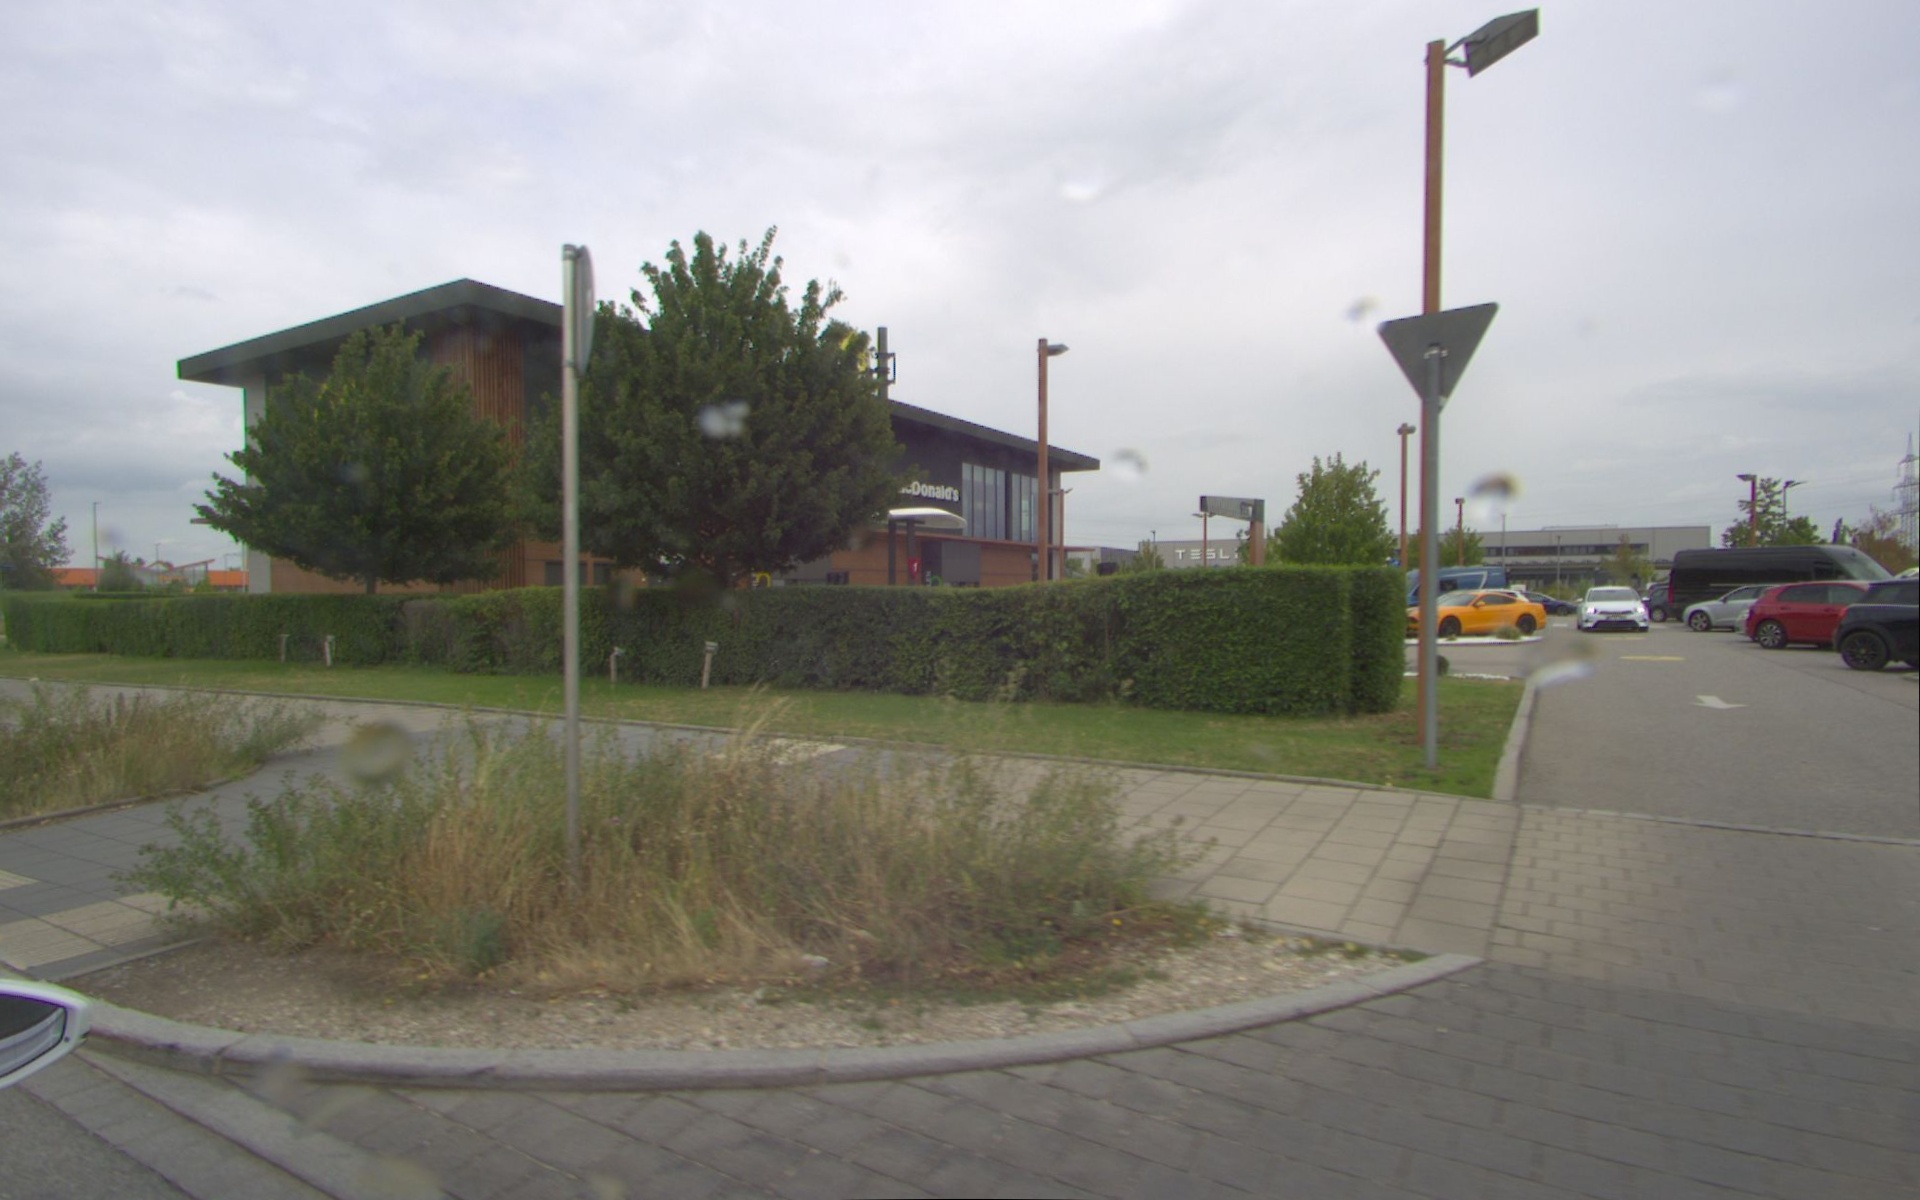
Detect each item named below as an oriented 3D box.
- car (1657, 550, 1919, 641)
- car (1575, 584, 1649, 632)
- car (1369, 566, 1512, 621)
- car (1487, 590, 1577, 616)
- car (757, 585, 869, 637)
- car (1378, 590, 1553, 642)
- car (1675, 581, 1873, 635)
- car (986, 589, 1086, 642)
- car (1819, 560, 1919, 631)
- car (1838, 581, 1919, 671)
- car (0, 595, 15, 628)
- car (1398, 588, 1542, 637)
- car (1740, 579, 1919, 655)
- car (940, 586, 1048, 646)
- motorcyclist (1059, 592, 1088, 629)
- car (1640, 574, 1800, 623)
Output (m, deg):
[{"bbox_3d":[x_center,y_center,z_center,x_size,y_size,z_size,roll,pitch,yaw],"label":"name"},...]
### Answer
[{"bbox_3d":[26.375,-0.135,31.648,2.241,2.535,7.313,0,0,-17],"label":"car"},{"bbox_3d":[21.296,0.253,32.717,1.929,1.462,4.194,0,0,34],"label":"car"},{"bbox_3d":[23.013,-0.320,48.050,5.933,2.562,2.279,0,1,-10],"label":"car"},{"bbox_3d":[33.910,0.195,59.416,4.581,1.462,1.945,-1,0,33],"label":"car"},{"bbox_3d":[-5.251,0.397,36.134,1.970,1.739,3.981,0,0,31],"label":"car"},{"bbox_3d":[15.221,0.462,30.205,4.649,1.462,1.996,-1,0,-17],"label":"car"},{"bbox_3d":[23.815,0.223,29.515,1.921,1.462,4.211,-1,0,-16],"label":"car"},{"bbox_3d":[2.614,0.549,35.439,2.086,1.739,4.221,0,0,-18],"label":"car"},{"bbox_3d":[33.449,-0.161,34.511,2.511,2.382,5.634,-1,1,-45],"label":"car"},{"bbox_3d":[15.361,0.382,14.313,1.786,1.330,3.839,0,0,-20],"label":"car"},{"bbox_3d":[-52.716,0.608,52.383,1.977,1.780,4.580,0,0,41],"label":"car"},{"bbox_3d":[18.531,0.428,36.430,4.651,1.678,1.995,-1,0,-19],"label":"car"},{"bbox_3d":[18.723,0.313,20.405,1.969,1.448,4.149,0,0,-13],"label":"car"},{"bbox_3d":[0.986,0.487,31.421,1.967,1.739,3.988,0,0,-22],"label":"car"},{"bbox_3d":[4.244,0.385,37.454,0.768,1.352,0.894,-1,1,-18],"label":"motorcyclist"},{"bbox_3d":[29.708,-0.052,39.288,4.604,1.840,1.864,-1,0,13],"label":"car"}]
